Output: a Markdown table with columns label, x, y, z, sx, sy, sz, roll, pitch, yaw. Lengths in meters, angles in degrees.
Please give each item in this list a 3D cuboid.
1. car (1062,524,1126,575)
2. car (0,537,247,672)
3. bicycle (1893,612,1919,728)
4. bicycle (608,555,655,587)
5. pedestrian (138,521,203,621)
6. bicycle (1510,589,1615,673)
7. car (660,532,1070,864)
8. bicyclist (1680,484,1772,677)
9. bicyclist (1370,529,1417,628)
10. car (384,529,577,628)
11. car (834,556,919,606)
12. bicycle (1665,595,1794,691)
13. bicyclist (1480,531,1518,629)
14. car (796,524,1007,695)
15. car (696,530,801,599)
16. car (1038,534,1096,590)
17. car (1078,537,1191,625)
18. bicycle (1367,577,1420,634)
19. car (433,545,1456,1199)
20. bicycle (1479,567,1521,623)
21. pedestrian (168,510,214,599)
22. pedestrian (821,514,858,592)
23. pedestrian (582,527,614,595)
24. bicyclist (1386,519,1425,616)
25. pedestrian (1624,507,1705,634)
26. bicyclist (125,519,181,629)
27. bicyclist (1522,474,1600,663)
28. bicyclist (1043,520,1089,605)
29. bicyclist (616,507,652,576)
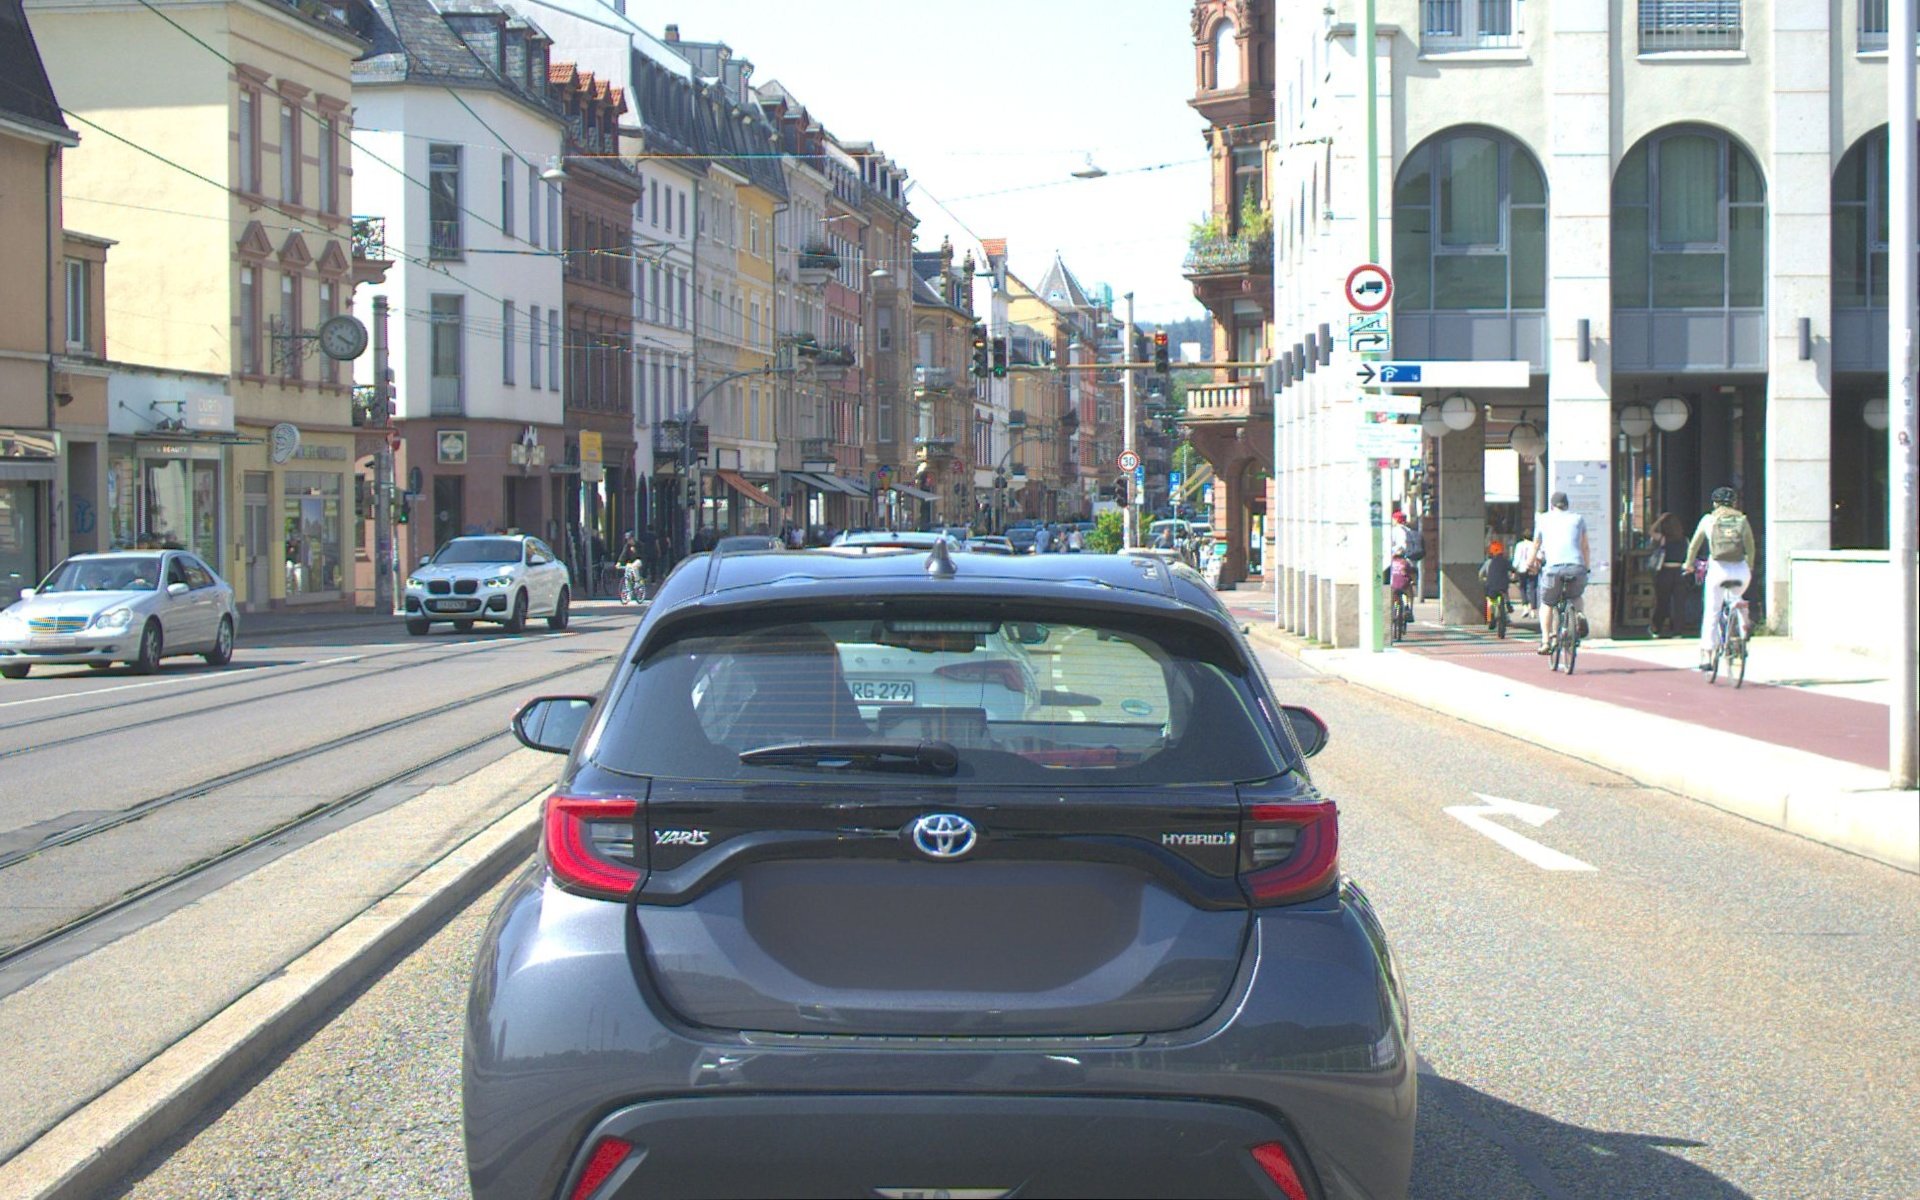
| label | x | y | z | sx | sy | sz | roll | pitch | yaw |
| --- | --- | --- | --- | --- | --- | --- | --- | --- | --- |
| car | 5.778 | -2.163 | 148.102 | 1.995 | 2.007 | 3.998 | 5 | 1 | 11 |
| car | -9.688 | 0.013 | 39.541 | 1.731 | 1.455 | 4.373 | 0 | 1 | 5 |
| bicycle | 6.732 | 0.475 | 22.603 | 0.593 | 0.763 | 1.831 | -1 | 1 | -3 |
| bicycle | -7.930 | -0.707 | 83.018 | 0.620 | 0.713 | 2.044 | 2 | 2 | 9 |
| pedestrian | -13.448 | -0.492 | 58.567 | 0.762 | 1.648 | 0.711 | 4 | 1 | 7 |
| bicycle | 5.891 | 0.290 | 33.677 | 0.593 | 0.763 | 1.867 | -1 | 1 | -3 |
| car | -0.483 | 0.422 | 18.155 | 1.897 | 1.525 | 4.000 | 1 | 1 | -1 |
| bicyclist | 6.663 | -0.172 | 29.923 | 0.586 | 1.645 | 0.702 | -1 | 1 | -3 |
| bicyclist | 6.189 | -0.312 | 49.125 | 0.534 | 1.378 | 0.669 | -2 | 1 | -1 |
| car | -7.881 | -0.381 | 56.965 | 1.994 | 1.581 | 4.651 | 0 | 1 | 7 |
| car | -2.473 | -0.576 | 102.653 | 1.994 | 1.427 | 3.999 | 1 | 1 | 6 |
| bicycle | 6.683 | 0.362 | 29.919 | 0.593 | 0.763 | 1.867 | -1 | 1 | -3 |
| bicyclist | 7.687 | -0.284 | 49.010 | 0.422 | 1.378 | 0.443 | -2 | 1 | -1 |
| car | -0.574 | 0.046 | 33.422 | 1.897 | 1.525 | 4.000 | 1 | 1 | -1 |
| car | -4.813 | -0.830 | 78.699 | 1.794 | 1.540 | 3.920 | 0 | 1 | 6 |
| car | 4.198 | -1.500 | 134.783 | 1.994 | 2.006 | 4.000 | 4 | 1 | 4 |
| car | 3.085 | -0.367 | 61.491 | 1.705 | 1.461 | 4.326 | 1 | 1 | -1 |
| bicycle | 6.195 | 0.076 | 49.184 | 0.514 | 0.763 | 1.661 | -2 | 1 | 0 |
| car | -0.063 | 0.636 | 7.685 | 1.720 | 1.468 | 3.658 | 1 | 1 | -1 |
| bicycle | 7.695 | -0.073 | 48.982 | 0.416 | 0.763 | 0.962 | -2 | 1 | 0 |
| pedestrian | -14.498 | -0.860 | 64.807 | 0.649 | 1.596 | 0.566 | 4 | 3 | 0 |
| pedestrian | -4.147 | -1.622 | 118.223 | 1.051 | 2.579 | 1.501 | 4 | 1 | 0 |
| pedestrian | -9.474 | -1.025 | 90.025 | 0.736 | 1.760 | 0.787 | 0 | 2 | 0 |
| bicyclist | 6.812 | -0.501 | 52.585 | 0.442 | 1.461 | 0.484 | -2 | 1 | 22 |
| pedestrian | 9.334 | -0.397 | 45.587 | 0.739 | 1.609 | 1.016 | 4 | 1 | -1 |
| bicyclist | -12.370 | -0.403 | 52.705 | 0.627 | 1.644 | 0.621 | 2 | 2 | 8 |
| bicyclist | 5.878 | -0.312 | 33.647 | 0.586 | 1.814 | 0.702 | -1 | 1 | -3 |
| bicyclist | 3.278 | -1.163 | 106.408 | 1.228 | 2.520 | 1.105 | 4 | 1 | 3 |
| bicyclist | -7.889 | -1.413 | 83.130 | 0.705 | 1.644 | 0.621 | 2 | 2 | 8 |
